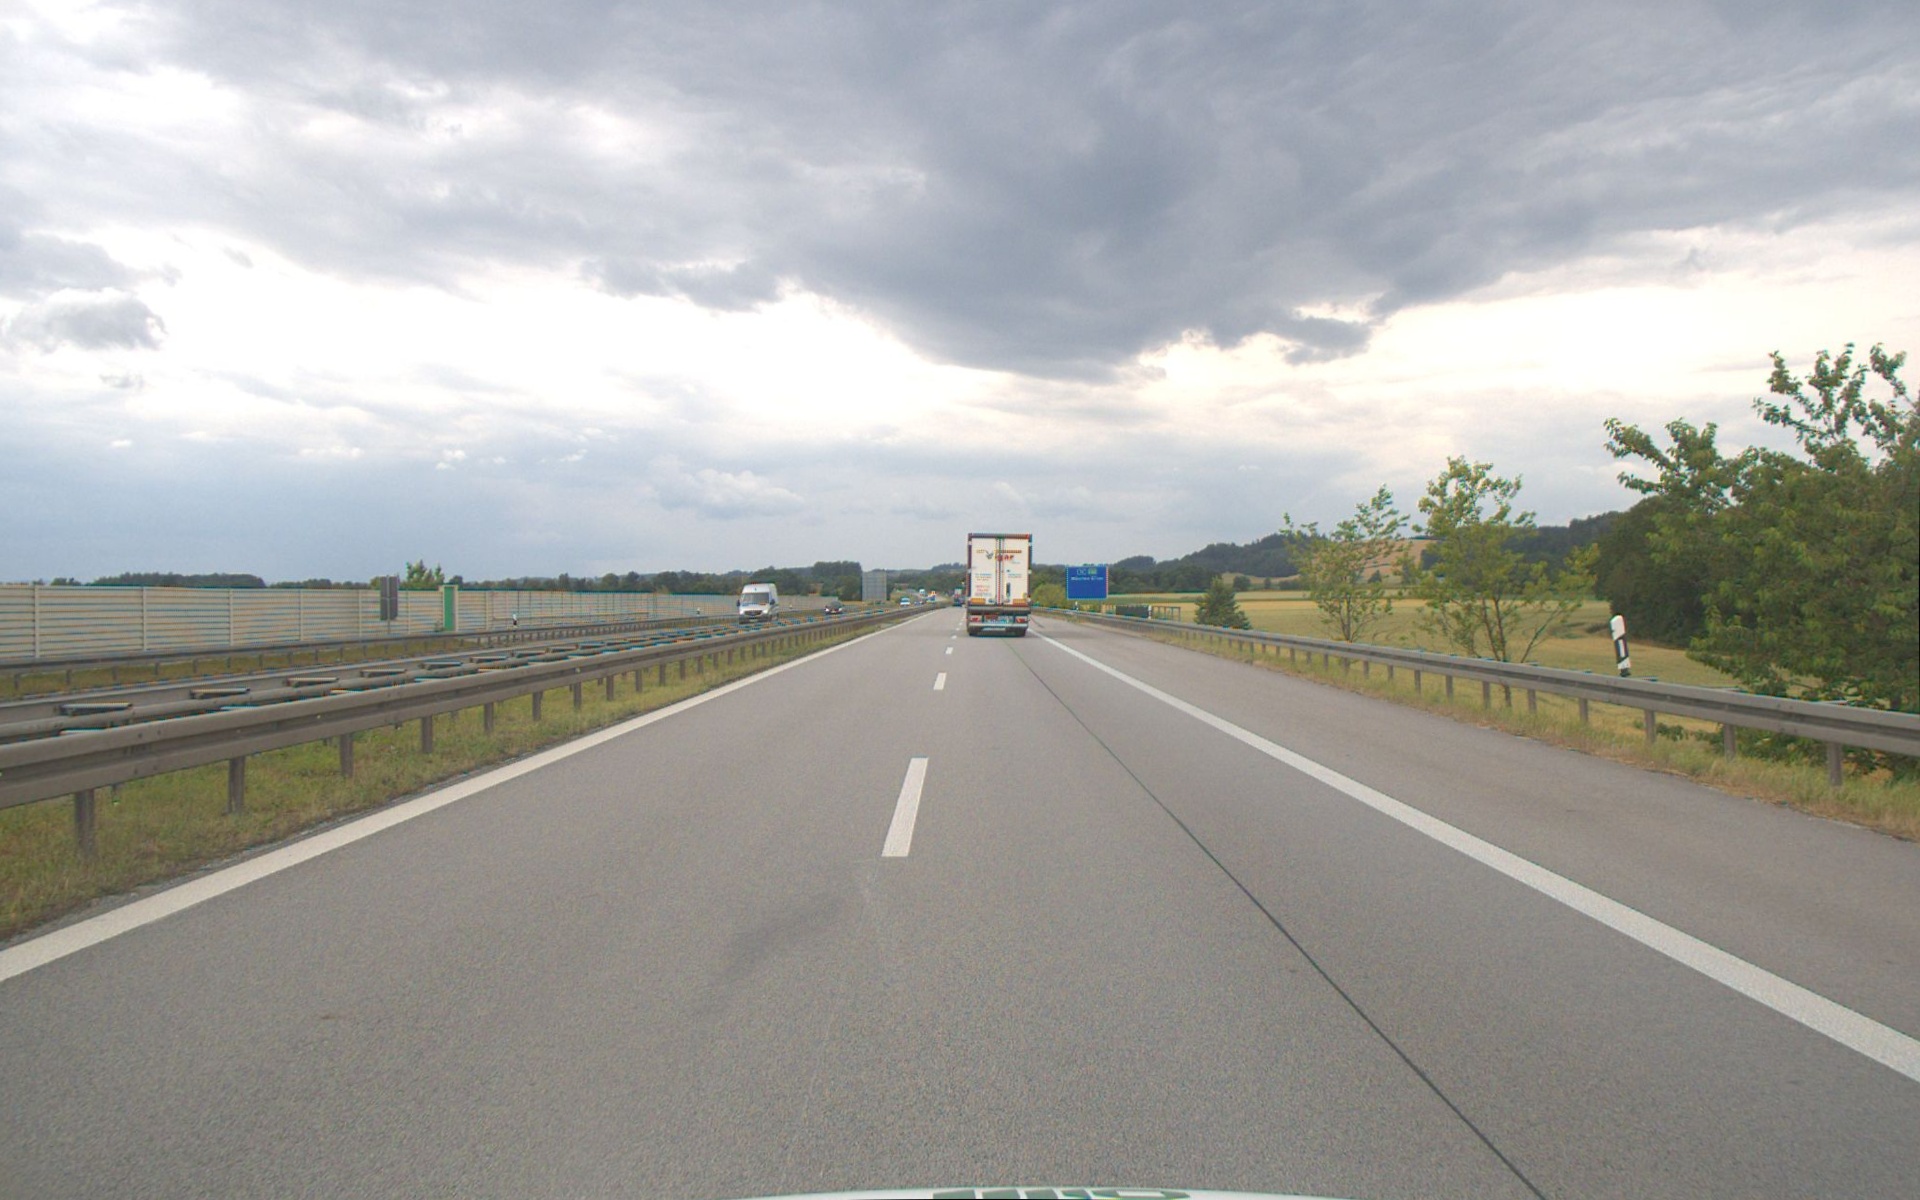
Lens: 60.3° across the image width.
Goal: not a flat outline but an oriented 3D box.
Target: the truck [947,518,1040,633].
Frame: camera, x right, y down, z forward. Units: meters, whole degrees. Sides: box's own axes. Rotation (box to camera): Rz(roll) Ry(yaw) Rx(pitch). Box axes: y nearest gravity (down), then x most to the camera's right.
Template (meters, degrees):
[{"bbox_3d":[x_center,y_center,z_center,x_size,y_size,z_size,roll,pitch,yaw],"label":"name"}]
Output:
[{"bbox_3d":[1.259,-0.981,73.173,3.597,4.489,16.338,0,0,-1],"label":"truck"}]

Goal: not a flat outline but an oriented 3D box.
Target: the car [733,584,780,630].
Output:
[{"bbox_3d":[-12.593,0.440,102.819,2.028,2.648,6.288,-3,0,0],"label":"car"}]

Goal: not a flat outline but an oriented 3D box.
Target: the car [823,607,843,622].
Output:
[{"bbox_3d":[-12.275,1.365,160.428,1.636,1.410,4.000,-2,0,0],"label":"car"}]
